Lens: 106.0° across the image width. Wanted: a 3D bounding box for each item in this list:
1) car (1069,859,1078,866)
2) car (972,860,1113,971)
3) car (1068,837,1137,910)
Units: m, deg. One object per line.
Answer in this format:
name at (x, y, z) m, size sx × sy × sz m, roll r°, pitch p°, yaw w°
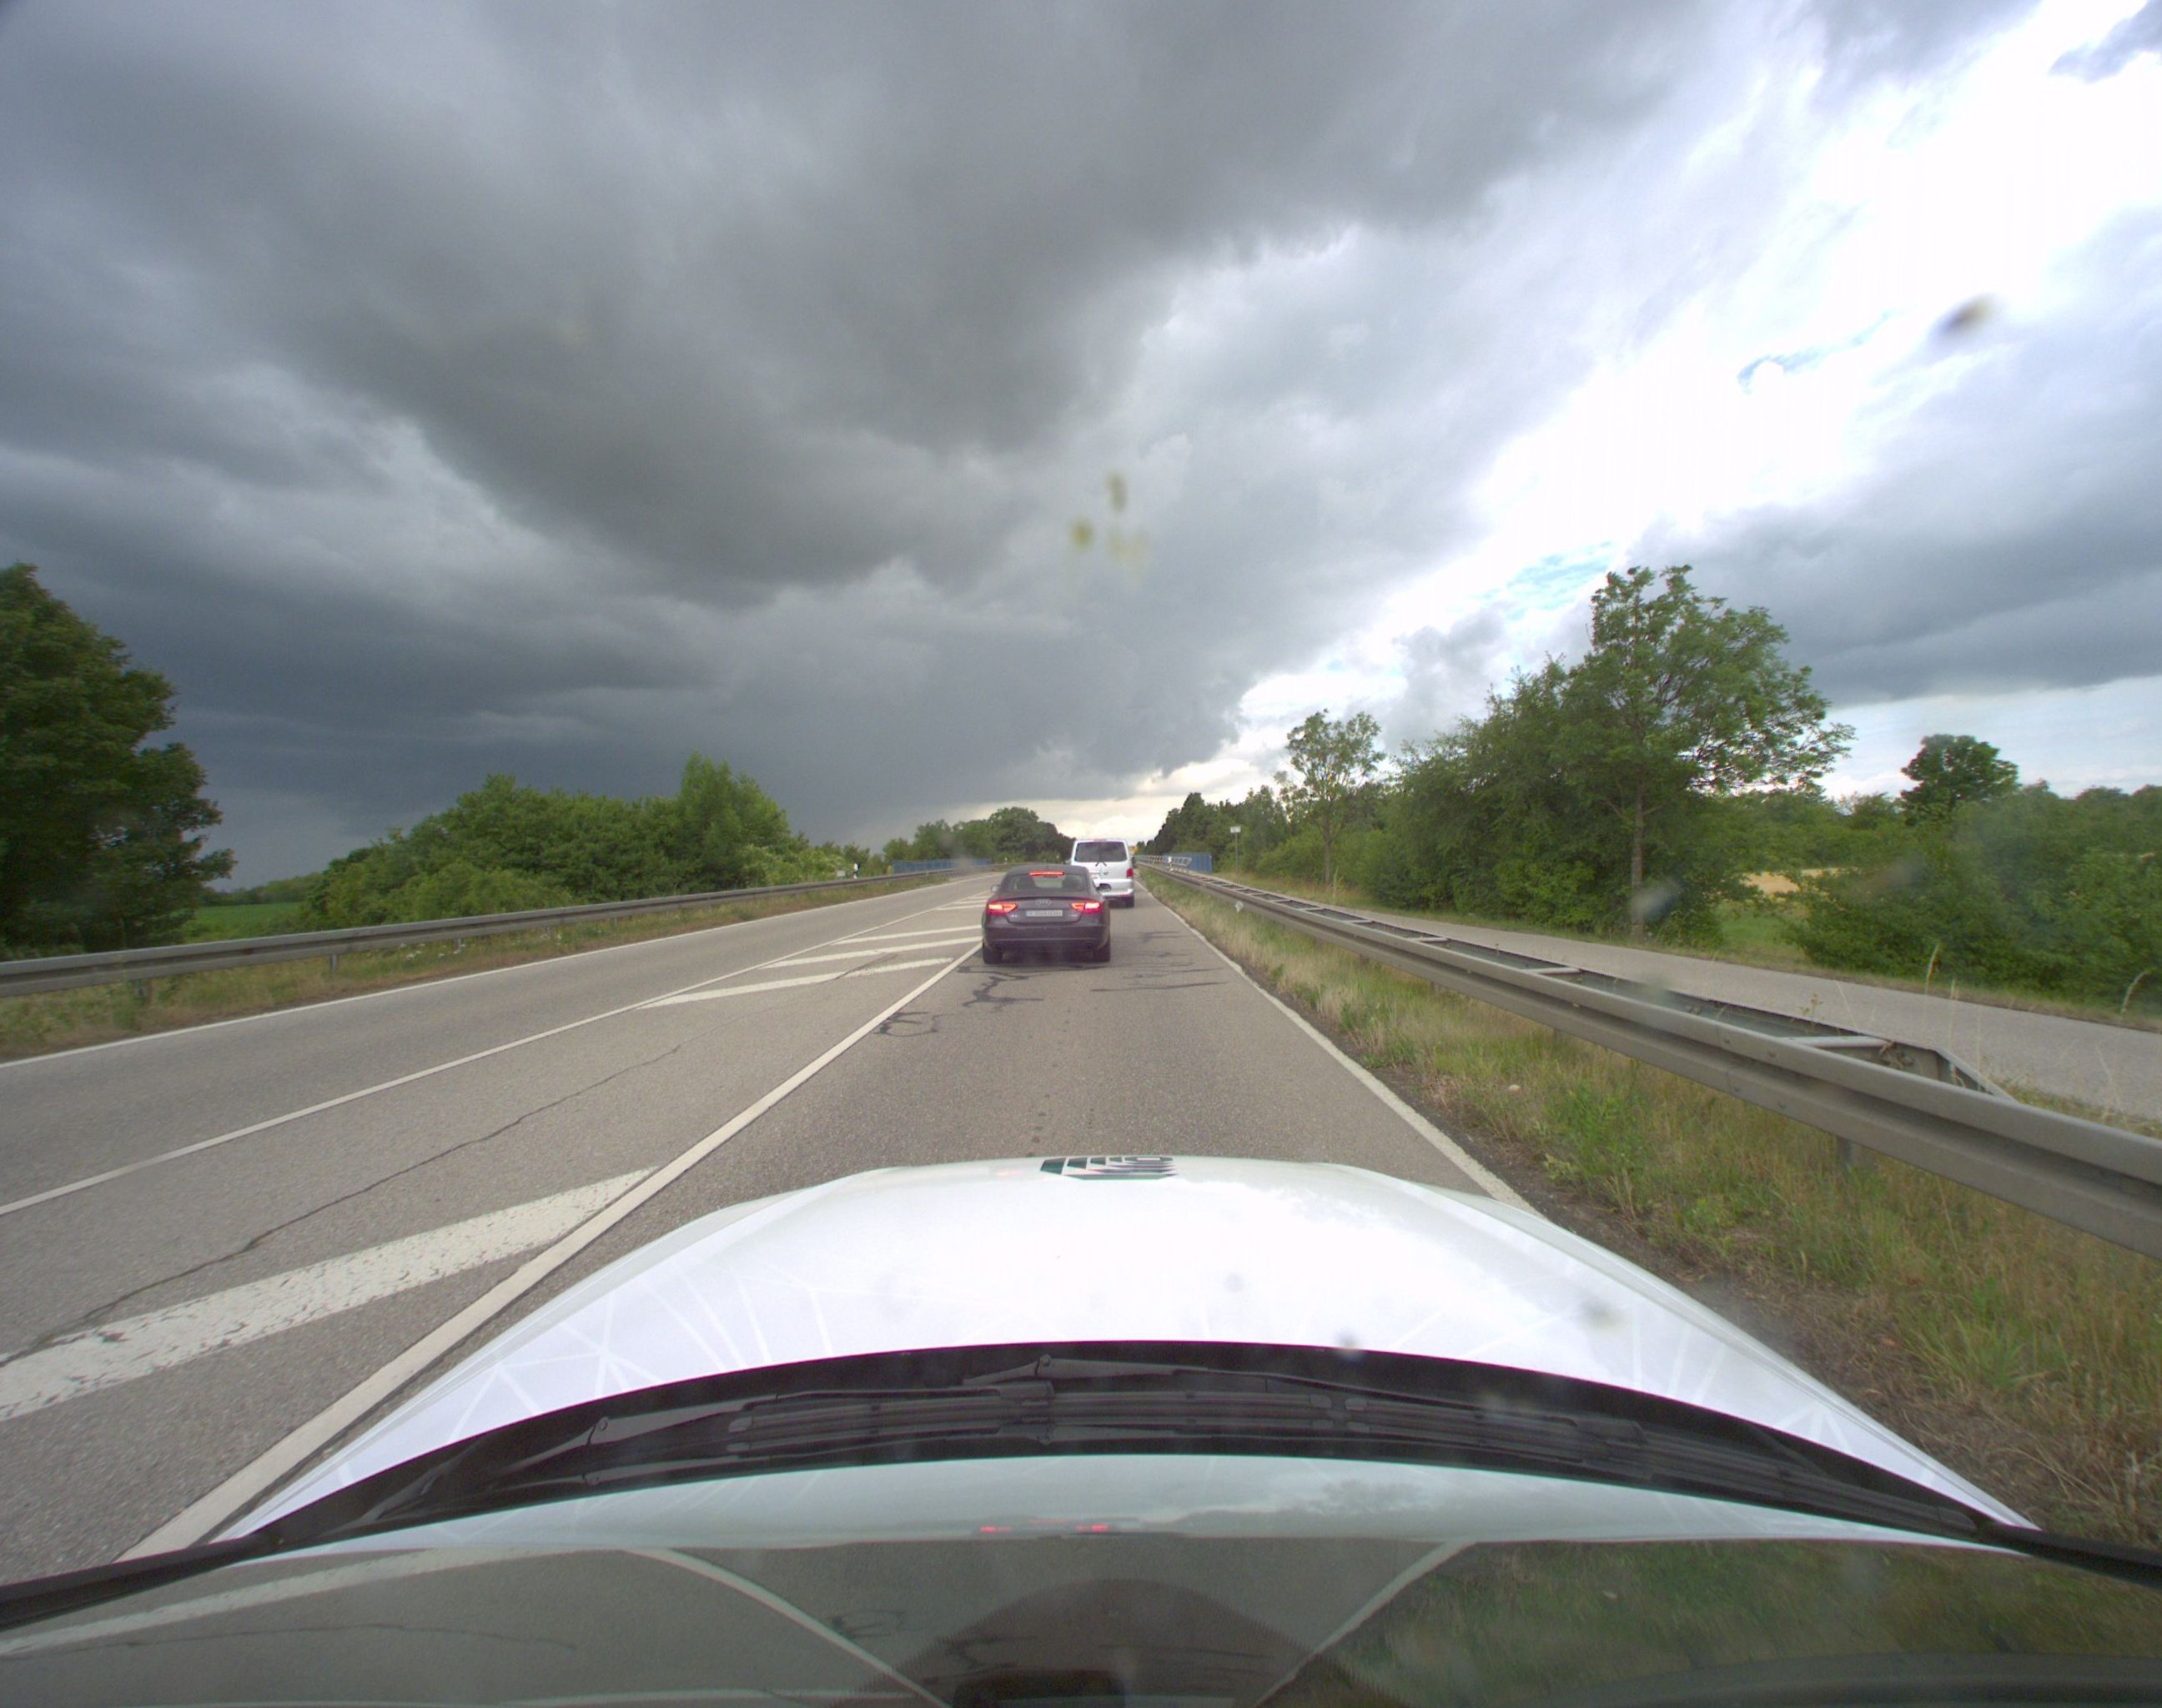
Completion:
car at (-1.560, 1.771, 178.436) m, size 1.793 × 1.450 × 4.446 m, roll -2°, pitch 0°, yaw 0°
car at (-0.440, 0.826, 12.739) m, size 1.815 × 1.381 × 4.073 m, roll -2°, pitch 0°, yaw 2°
car at (0.638, 0.545, 24.246) m, size 1.821 × 1.935 × 4.001 m, roll -2°, pitch 0°, yaw 2°
